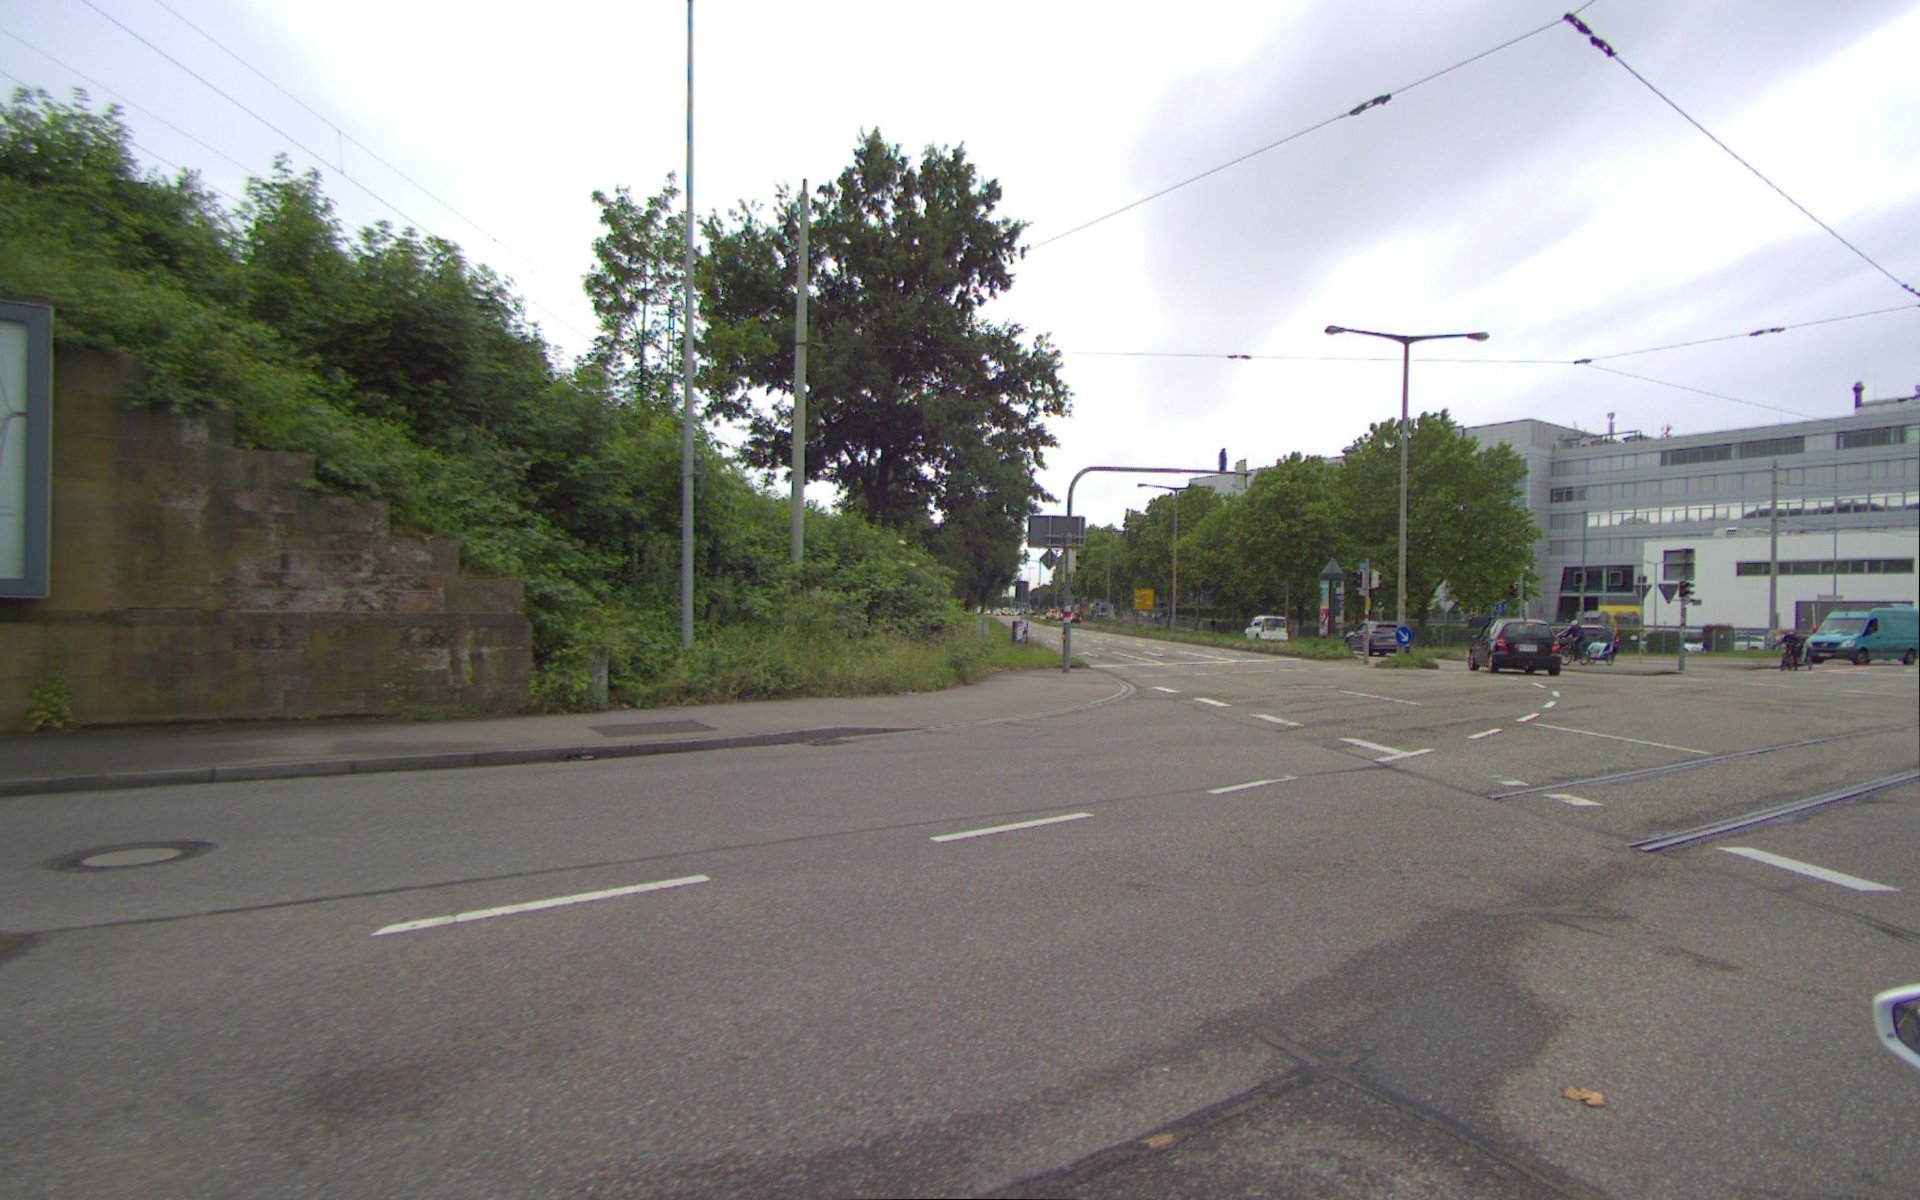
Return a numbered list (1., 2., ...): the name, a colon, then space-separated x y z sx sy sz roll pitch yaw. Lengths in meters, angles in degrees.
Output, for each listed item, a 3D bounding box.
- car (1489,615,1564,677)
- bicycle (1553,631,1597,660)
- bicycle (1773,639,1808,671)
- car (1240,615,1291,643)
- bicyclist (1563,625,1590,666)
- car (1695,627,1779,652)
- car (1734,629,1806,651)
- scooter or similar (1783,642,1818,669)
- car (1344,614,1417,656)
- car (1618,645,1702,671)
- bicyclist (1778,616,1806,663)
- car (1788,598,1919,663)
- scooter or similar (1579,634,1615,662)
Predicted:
1. car: 16.326 1.264 29.058 1.742 1.548 3.664 2 1 28
2. bicycle: 24.033 1.774 39.233 1.979 1.076 0.641 1 2 -33
3. bicycle: 30.934 2.041 37.391 2.008 1.076 0.640 0 2 -41
4. car: 19.500 1.799 64.326 1.929 1.548 5.011 1 1 3
5. bicyclist: 24.078 1.775 39.252 0.619 1.539 0.642 1 2 -32
6. car: 56.492 2.859 73.070 1.895 1.655 4.494 1 -1 -36
7. car: 61.514 3.030 76.298 1.895 1.505 3.959 1 -1 -36
8. scooter or similar: 32.228 2.124 38.522 1.188 0.919 0.836 0 2 -41
9. car: 18.816 1.516 45.116 1.743 1.674 3.669 1 1 1
10. car: 46.271 3.816 66.509 1.892 1.552 4.188 1 -1 -32
11. bicyclist: 30.986 1.455 37.405 0.680 1.706 0.640 0 2 -40
12. car: 41.484 1.435 46.428 5.858 2.863 2.326 1 -1 -20
13. scooter or similar: 25.451 1.918 40.157 1.434 1.076 0.641 1 2 -33
